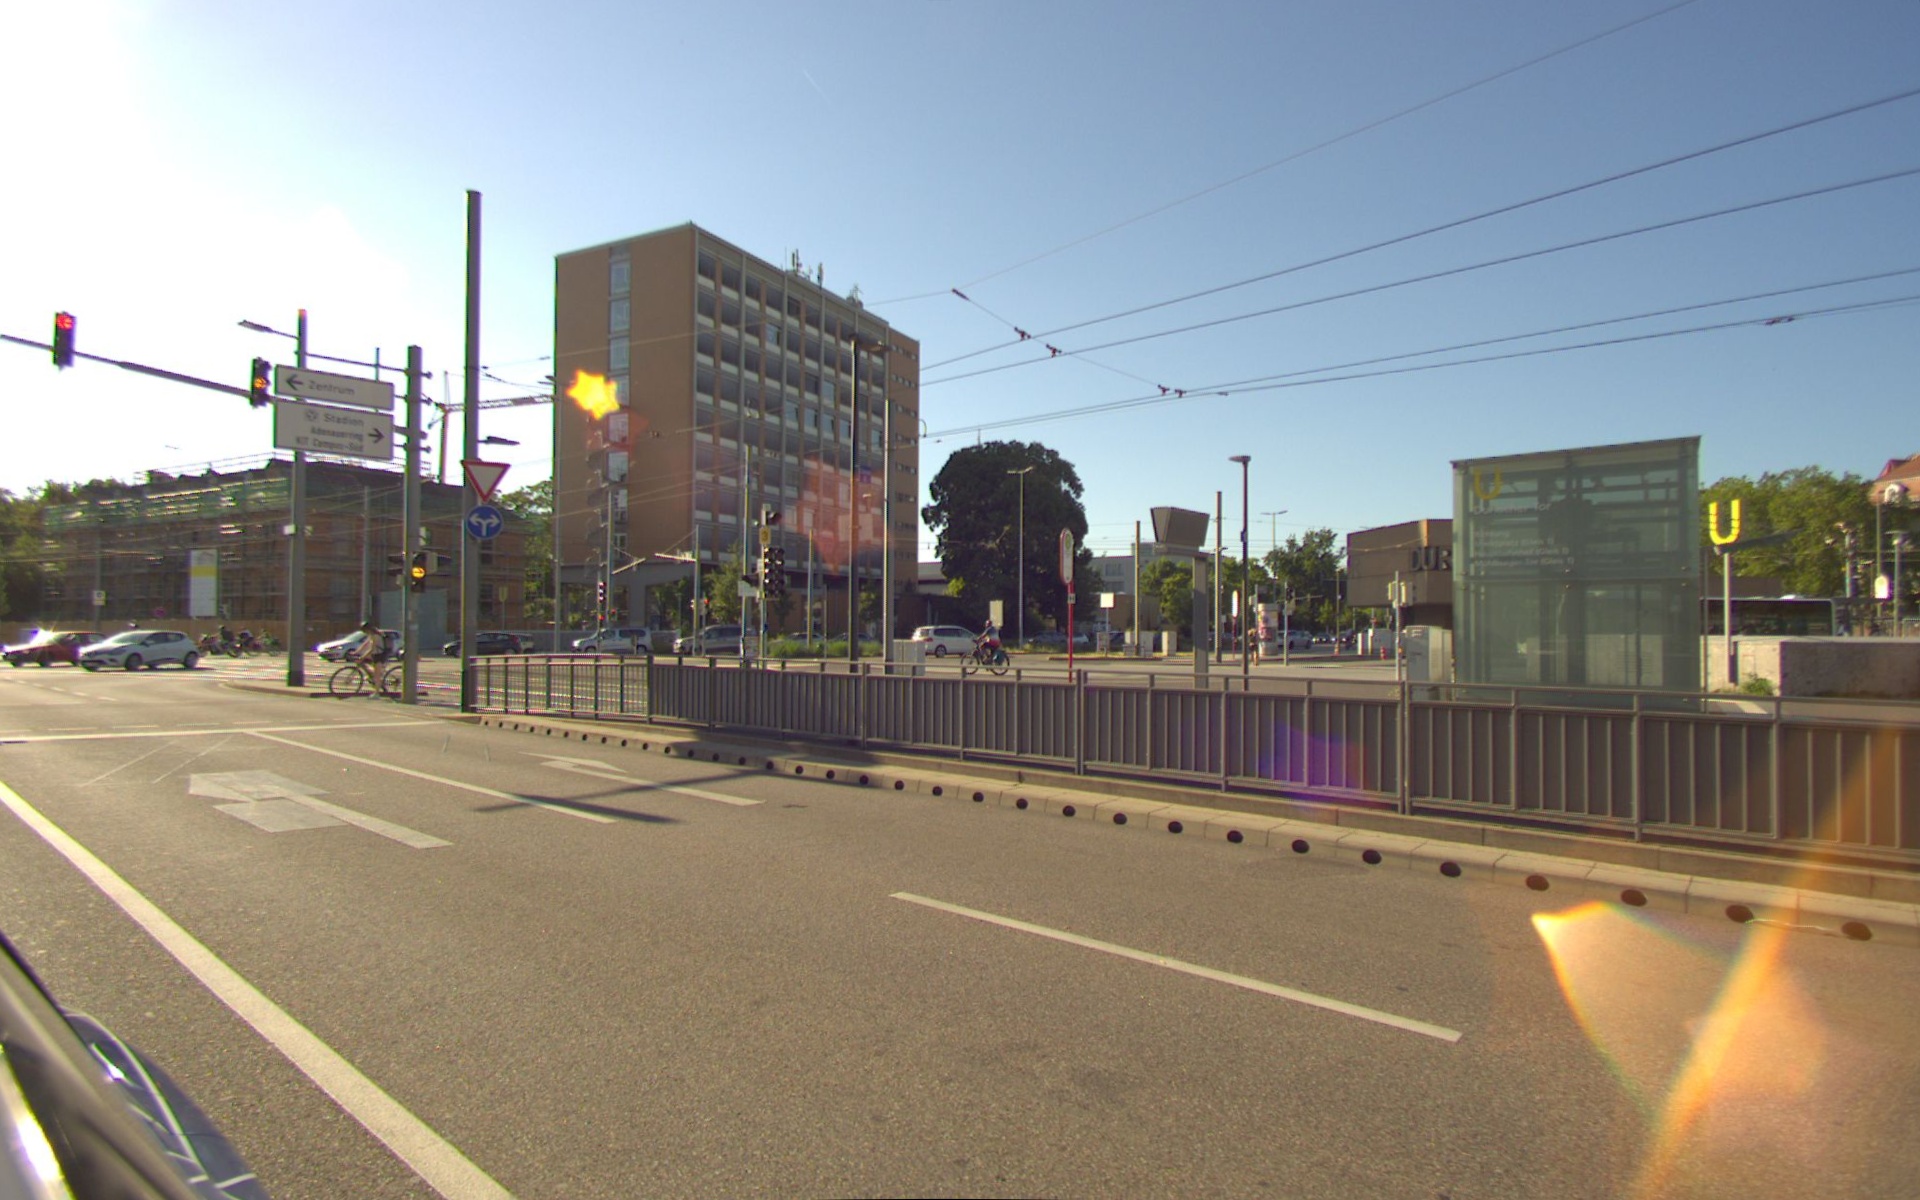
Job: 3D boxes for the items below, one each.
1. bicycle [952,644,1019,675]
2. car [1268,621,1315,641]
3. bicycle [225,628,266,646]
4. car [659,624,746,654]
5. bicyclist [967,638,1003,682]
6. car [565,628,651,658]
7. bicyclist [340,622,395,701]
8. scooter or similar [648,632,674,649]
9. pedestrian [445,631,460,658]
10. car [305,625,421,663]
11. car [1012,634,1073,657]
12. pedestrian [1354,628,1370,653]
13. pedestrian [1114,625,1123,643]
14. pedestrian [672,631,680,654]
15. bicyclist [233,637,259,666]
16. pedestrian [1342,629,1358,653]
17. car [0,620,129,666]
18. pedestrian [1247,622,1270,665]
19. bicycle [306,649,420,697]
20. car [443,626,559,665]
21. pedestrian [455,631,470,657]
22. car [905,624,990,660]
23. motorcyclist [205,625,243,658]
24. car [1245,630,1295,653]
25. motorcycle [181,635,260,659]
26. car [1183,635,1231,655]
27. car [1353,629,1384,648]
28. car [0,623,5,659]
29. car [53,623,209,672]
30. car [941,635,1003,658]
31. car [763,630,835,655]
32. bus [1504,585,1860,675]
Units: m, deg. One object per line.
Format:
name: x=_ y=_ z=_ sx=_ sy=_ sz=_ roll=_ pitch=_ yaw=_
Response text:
bicycle: x=0.822 y=1.942 z=32.956 sx=1.991 sy=0.949 sz=0.808 roll=-2 pitch=0 yaw=26
car: x=25.775 y=2.444 z=78.526 sx=1.847 sy=1.434 sz=4.370 roll=-2 pitch=-4 yaw=42
bicycle: x=-42.320 y=2.185 z=59.963 sx=1.849 sy=0.977 sz=0.714 roll=2 pitch=0 yaw=-11
car: x=-15.008 y=2.279 z=58.999 sx=4.538 sy=1.701 sz=2.006 roll=1 pitch=-2 yaw=-28
bicyclist: x=0.821 y=1.942 z=32.951 sx=0.897 sy=1.355 sz=0.808 roll=-2 pitch=0 yaw=26
car: x=-21.525 y=2.639 z=61.911 sx=4.627 sy=1.697 sz=2.006 roll=1 pitch=-5 yaw=-31
bicyclist: x=-12.455 y=1.283 z=21.282 sx=0.814 sy=1.629 sz=0.668 roll=-1 pitch=-4 yaw=36
scooter or similar: x=-23.023 y=3.098 z=77.917 sx=1.803 sy=1.257 sz=0.800 roll=-1 pitch=-5 yaw=-1
pedestrian: x=-33.912 y=2.990 z=67.627 sx=0.612 sy=1.752 sz=0.666 roll=1 pitch=-1 yaw=-7
car: x=-27.833 y=2.037 z=47.338 sx=1.991 sy=1.689 sz=4.241 roll=-1 pitch=-2 yaw=28
car: x=6.602 y=3.663 z=81.108 sx=4.628 sy=1.697 sz=2.005 roll=2 pitch=-5 yaw=-35
pedestrian: x=29.950 y=3.037 z=75.408 sx=0.803 sy=1.782 sz=0.961 roll=-5 pitch=-6 yaw=37
pedestrian: x=15.532 y=3.342 z=99.441 sx=0.582 sy=1.674 sz=0.567 roll=2 pitch=-6 yaw=-35
pedestrian: x=-21.572 y=3.226 z=76.930 sx=0.614 sy=1.725 sz=0.487 roll=0 pitch=-5 yaw=-15
bicyclist: x=-42.303 y=3.045 z=59.975 sx=1.000 sy=1.599 sz=0.695 roll=2 pitch=0 yaw=-11
pedestrian: x=29.382 y=3.110 z=76.241 sx=0.803 sy=1.782 sz=0.951 roll=-5 pitch=-6 yaw=37
car: x=-36.558 y=1.788 z=41.080 sx=1.979 sy=1.697 sz=3.984 roll=-2 pitch=-5 yaw=12
pedestrian: x=12.146 y=1.792 z=41.188 sx=0.724 sy=1.699 sz=1.048 roll=-3 pitch=-5 yaw=23
bicycle: x=-12.492 y=1.523 z=21.235 sx=0.814 sy=0.949 sz=1.872 roll=-1 pitch=-3 yaw=35
car: x=-25.537 y=2.530 z=56.389 sx=5.668 sy=2.029 sz=2.005 roll=2 pitch=-5 yaw=-33
pedestrian: x=-33.525 y=2.980 z=68.178 sx=0.721 sy=1.752 sz=0.623 roll=2 pitch=-2 yaw=-39
car: x=-0.687 y=2.357 z=55.997 sx=4.392 sy=1.747 sz=1.945 roll=5 pitch=-5 yaw=-38
motorcyclist: x=-38.473 y=2.172 z=52.910 sx=1.429 sy=1.680 sz=1.121 roll=1 pitch=-5 yaw=-28
car: x=25.374 y=3.401 z=82.698 sx=4.553 sy=1.760 sz=1.943 roll=2 pitch=-3 yaw=-44
motorcycle: x=-38.555 y=2.449 z=52.841 sx=3.177 sy=1.204 sz=1.121 roll=1 pitch=-5 yaw=-28
car: x=23.223 y=4.245 z=95.171 sx=4.633 sy=1.697 sz=2.003 roll=3 pitch=-6 yaw=-41
car: x=36.743 y=3.432 z=91.039 sx=1.718 sy=1.643 sz=3.824 roll=-1 pitch=-2 yaw=35
car: x=-46.737 y=1.967 z=46.402 sx=3.931 sy=1.618 sz=2.006 roll=-1 pitch=2 yaw=-30
car: x=-30.434 y=1.704 z=37.327 sx=1.976 sy=1.689 sz=4.274 roll=0 pitch=-2 yaw=6
car: x=0.972 y=3.702 z=80.116 sx=4.628 sy=1.697 sz=2.005 roll=2 pitch=-5 yaw=-35
car: x=-11.374 y=3.034 z=71.578 sx=4.628 sy=1.697 sz=2.005 roll=2 pitch=-5 yaw=-35
bus: x=28.457 y=1.217 z=40.114 sx=12.465 sy=3.219 sz=2.845 roll=-1 pitch=-5 yaw=-6
